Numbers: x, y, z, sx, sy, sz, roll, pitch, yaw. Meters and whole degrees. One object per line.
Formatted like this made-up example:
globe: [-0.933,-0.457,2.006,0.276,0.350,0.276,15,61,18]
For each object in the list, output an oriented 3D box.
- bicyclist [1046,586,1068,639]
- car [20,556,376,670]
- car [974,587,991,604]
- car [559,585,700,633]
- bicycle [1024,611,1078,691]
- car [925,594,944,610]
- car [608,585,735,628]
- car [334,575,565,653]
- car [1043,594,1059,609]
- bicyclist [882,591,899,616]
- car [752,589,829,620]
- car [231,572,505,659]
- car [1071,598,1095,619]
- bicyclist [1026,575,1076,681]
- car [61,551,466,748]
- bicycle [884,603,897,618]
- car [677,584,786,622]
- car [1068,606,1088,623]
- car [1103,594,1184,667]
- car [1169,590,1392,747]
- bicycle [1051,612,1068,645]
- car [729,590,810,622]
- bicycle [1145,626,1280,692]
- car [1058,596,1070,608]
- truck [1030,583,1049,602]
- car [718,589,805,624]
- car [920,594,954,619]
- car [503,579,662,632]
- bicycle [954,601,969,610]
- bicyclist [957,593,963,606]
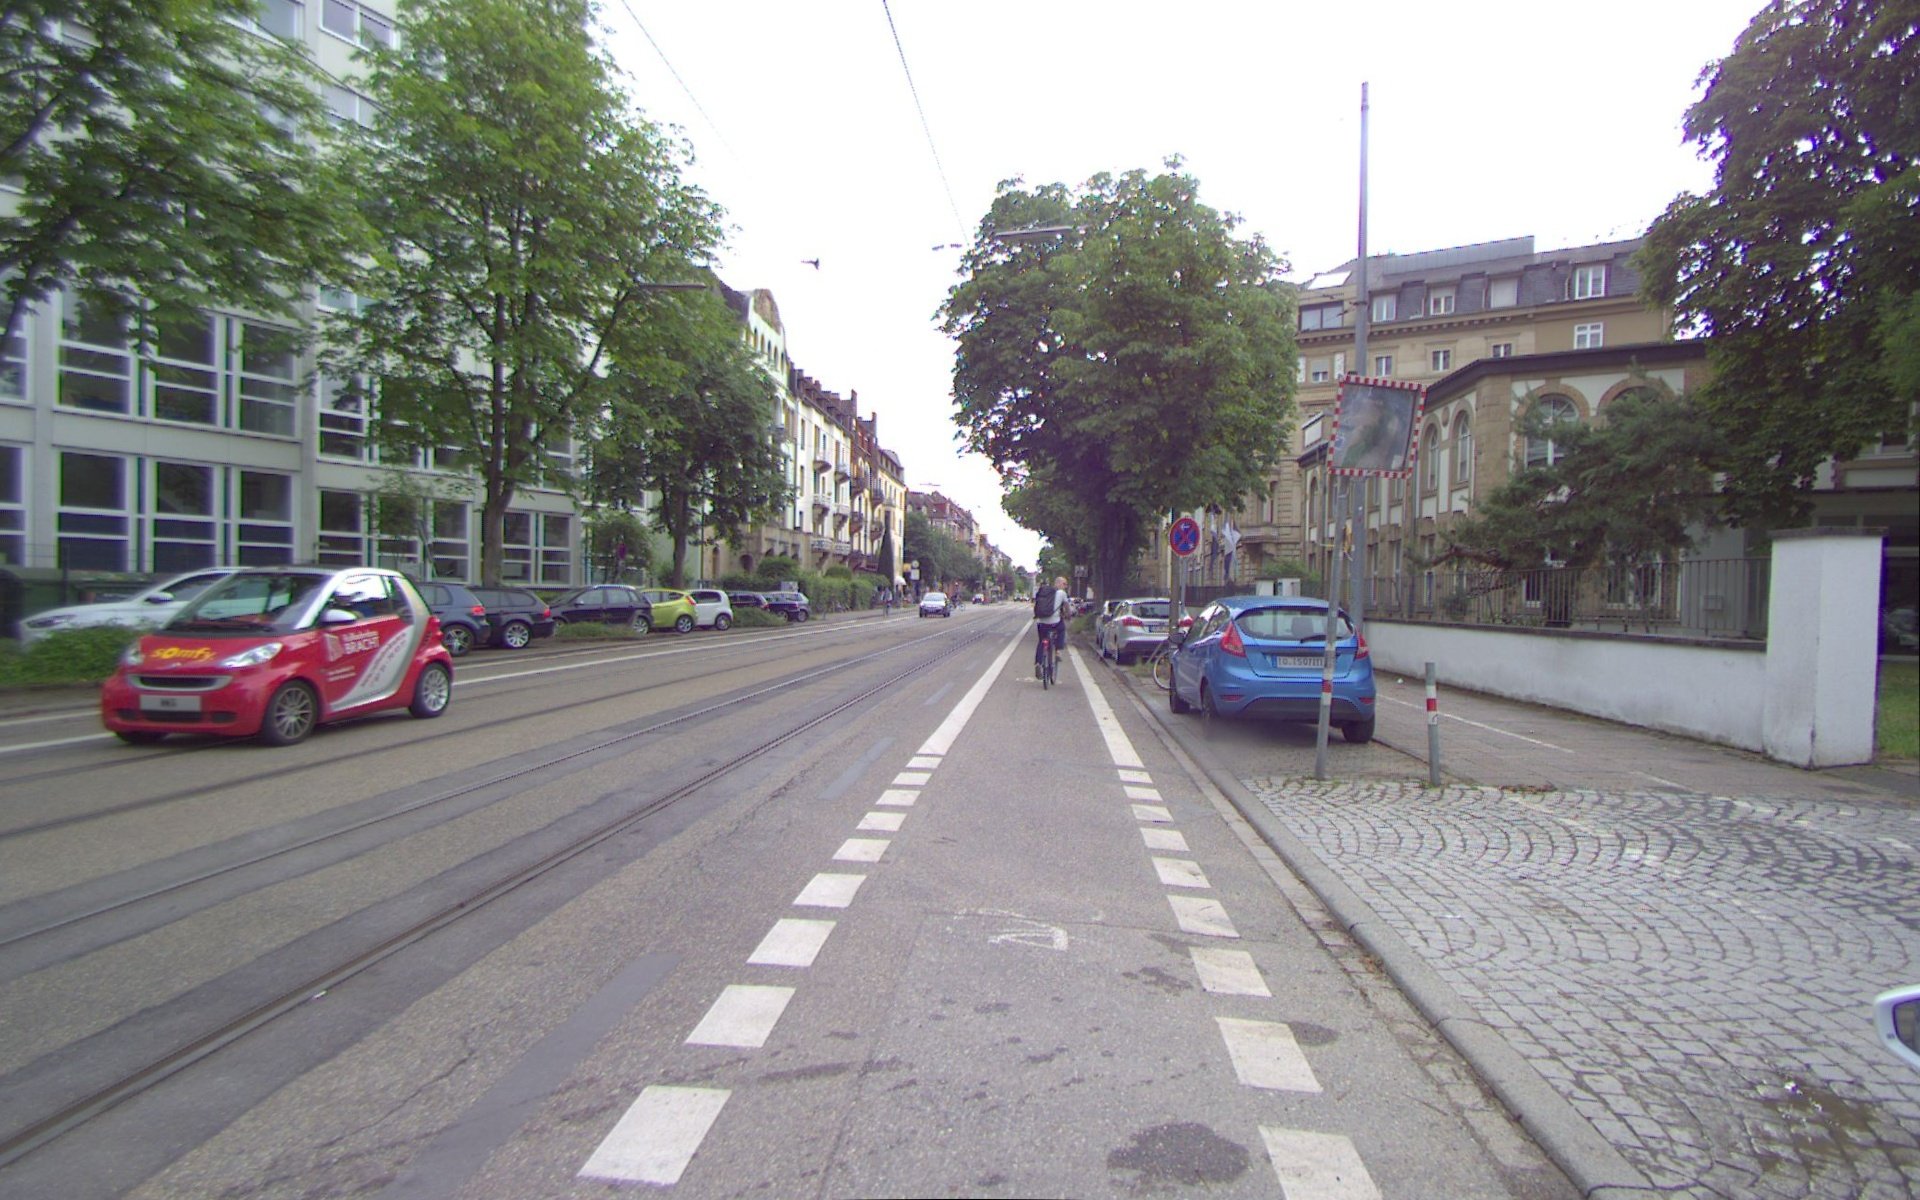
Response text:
bicyclist: [3.076,0.394,31.954,0.646,1.632,0.920,1,1,7]
car: [-11.936,0.206,15.938,4.317,1.577,1.678,2,1,-44]
car: [3.135,-0.648,142.070,2.168,2.450,4.001,1,0,4]
car: [-10.542,0.309,32.202,3.936,1.370,1.680,2,1,-40]
bicycle: [1.476,0.777,15.995,0.653,1.132,1.867,3,1,10]
car: [-3.725,0.320,146.728,2.140,2.237,4.220,1,0,6]
car: [-10.071,0.251,35.213,3.936,1.370,1.680,2,1,-40]
car: [-11.323,0.334,22.454,4.312,1.556,1.680,2,1,-40]
car: [10.939,0.155,120.413,1.781,1.731,3.701,2,0,8]
bicyclist: [-4.211,0.198,61.064,0.829,1.520,1.028,1,1,6]
car: [-8.774,0.224,51.933,3.662,1.404,1.692,2,1,-19]
car: [-11.282,0.308,19.308,4.312,1.473,1.680,2,1,-40]
car: [8.810,0.610,71.882,1.638,1.417,3.663,1,0,7]
bicyclist: [1.441,0.421,15.828,0.650,1.591,0.986,2,1,10]
car: [-6.203,0.397,9.321,1.648,1.542,2.783,0,0,7]
bicycle: [-4.228,0.622,61.309,0.461,0.880,2.139,1,0,6]
car: [-9.134,0.135,40.321,3.936,1.370,1.680,2,1,-40]
car: [10.800,1.290,91.964,1.740,1.417,3.797,1,0,7]
car: [4.154,0.635,23.154,1.450,1.501,3.566,2,1,5]
car: [3.386,0.641,11.228,1.645,1.480,3.434,0,0,5]
bicycle: [3.209,0.896,32.292,0.481,0.992,2.058,2,-1,7]
car: [-9.290,0.279,48.858,3.662,1.404,1.692,2,1,-19]
bicycle: [3.966,0.925,15.858,1.978,0.970,0.534,1,1,2]
car: [18.591,0.424,179.670,1.960,2.040,4.001,2,0,2]
truck: [17.384,-1.687,220.903,3.744,4.083,10.219,1,0,2]
car: [-9.092,0.299,45.965,3.662,1.404,1.692,2,1,-19]
car: [-1.391,0.373,61.610,1.711,1.448,4.001,1,0,4]
car: [-10.805,0.173,28.909,3.936,1.370,1.680,2,1,-40]
bicycle: [0.142,0.479,93.426,1.422,0.811,0.435,1,1,-2]
bicyclist: [-0.001,-0.031,93.412,0.504,1.184,0.438,1,1,-2]
